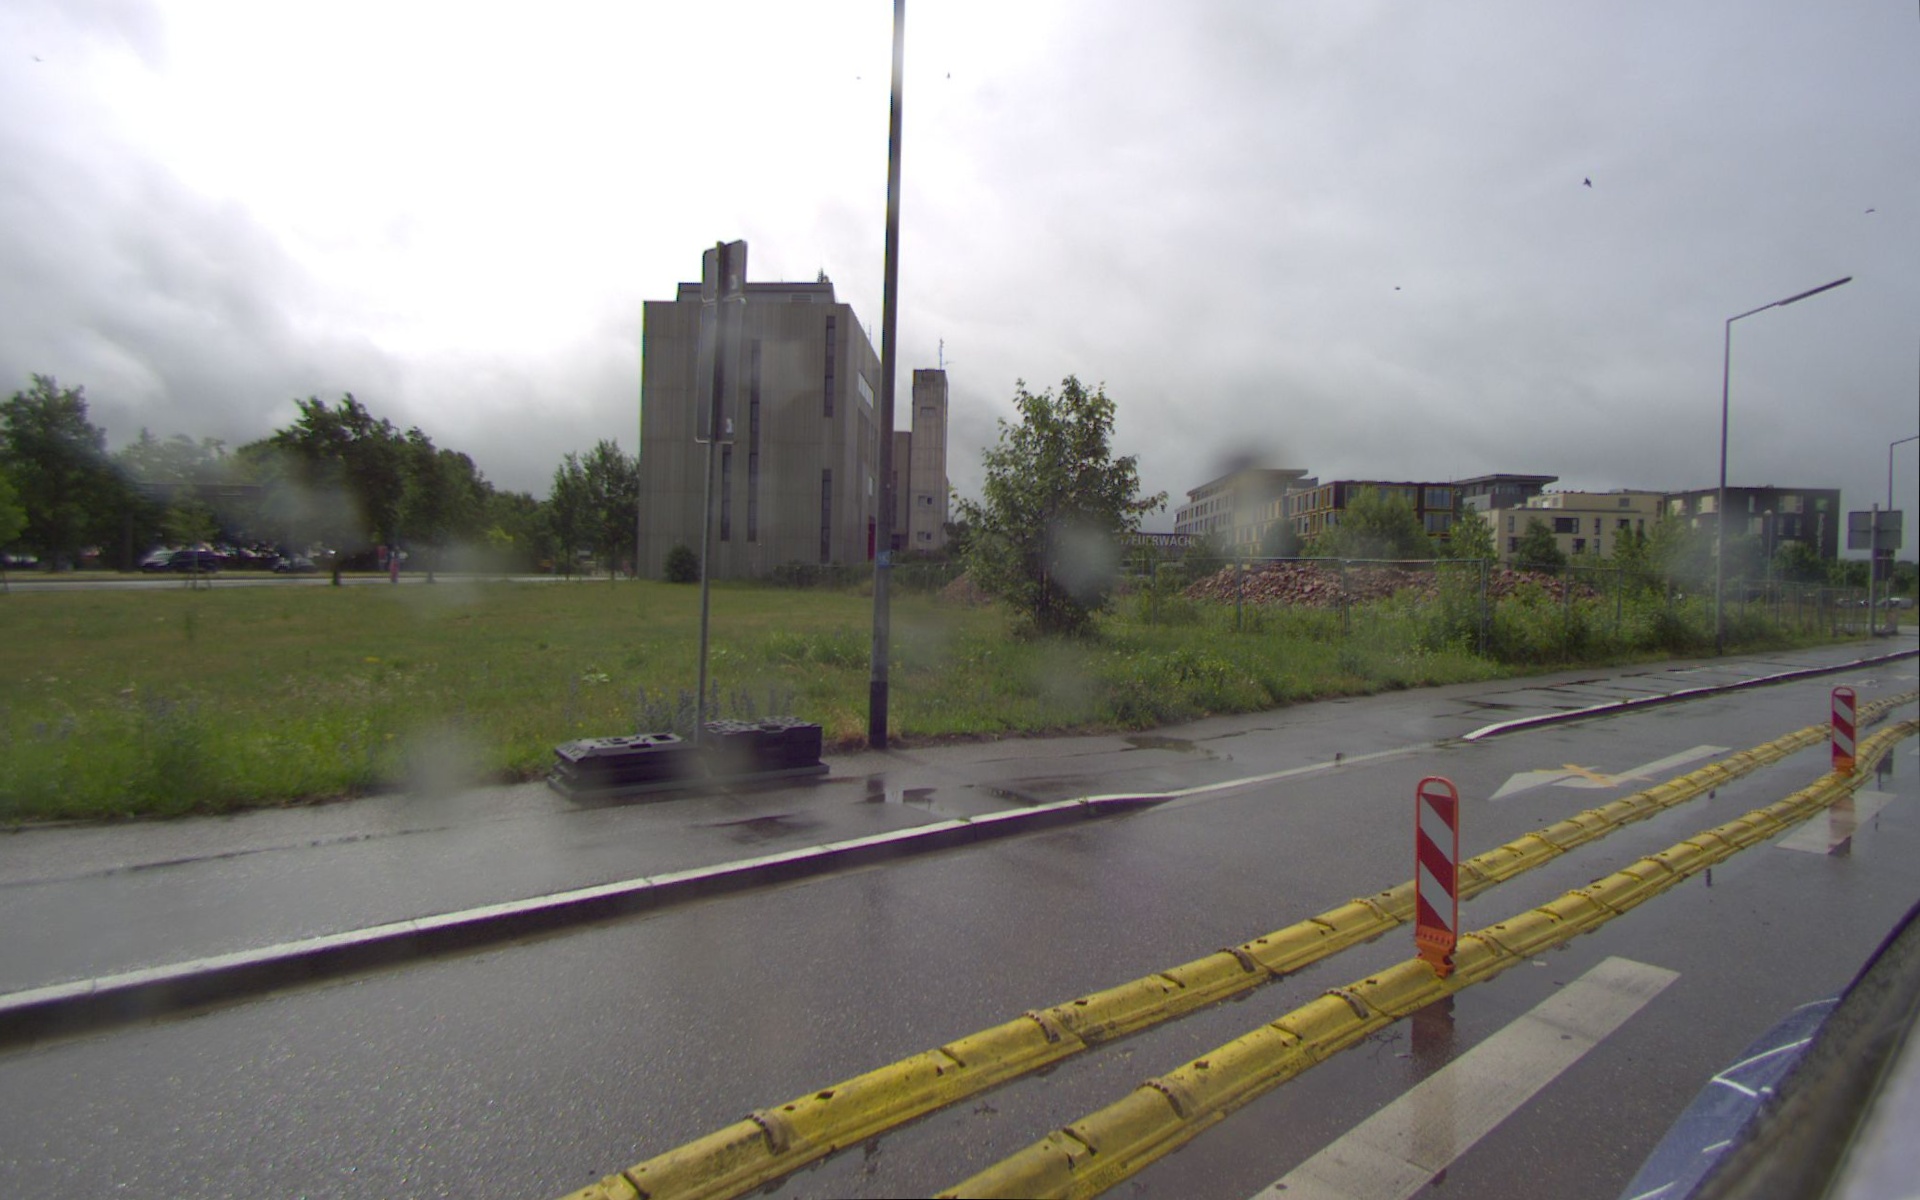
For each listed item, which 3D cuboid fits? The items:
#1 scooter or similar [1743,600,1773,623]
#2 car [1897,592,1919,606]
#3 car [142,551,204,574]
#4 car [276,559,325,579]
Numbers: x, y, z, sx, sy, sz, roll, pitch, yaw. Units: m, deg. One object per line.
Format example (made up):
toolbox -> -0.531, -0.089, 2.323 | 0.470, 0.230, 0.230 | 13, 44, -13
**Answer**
scooter or similar -> 42.185, 0.580, 53.515 | 0.473, 1.164, 1.196 | 1, 1, -7
car -> 141.426, -0.174, 149.470 | 3.931, 2.039, 1.997 | 1, 1, 6
car -> -56.152, -2.653, 72.256 | 1.515, 1.578, 3.521 | 1, 1, 3
car -> -53.407, -2.491, 81.983 | 1.515, 1.578, 3.521 | 1, 1, 3
